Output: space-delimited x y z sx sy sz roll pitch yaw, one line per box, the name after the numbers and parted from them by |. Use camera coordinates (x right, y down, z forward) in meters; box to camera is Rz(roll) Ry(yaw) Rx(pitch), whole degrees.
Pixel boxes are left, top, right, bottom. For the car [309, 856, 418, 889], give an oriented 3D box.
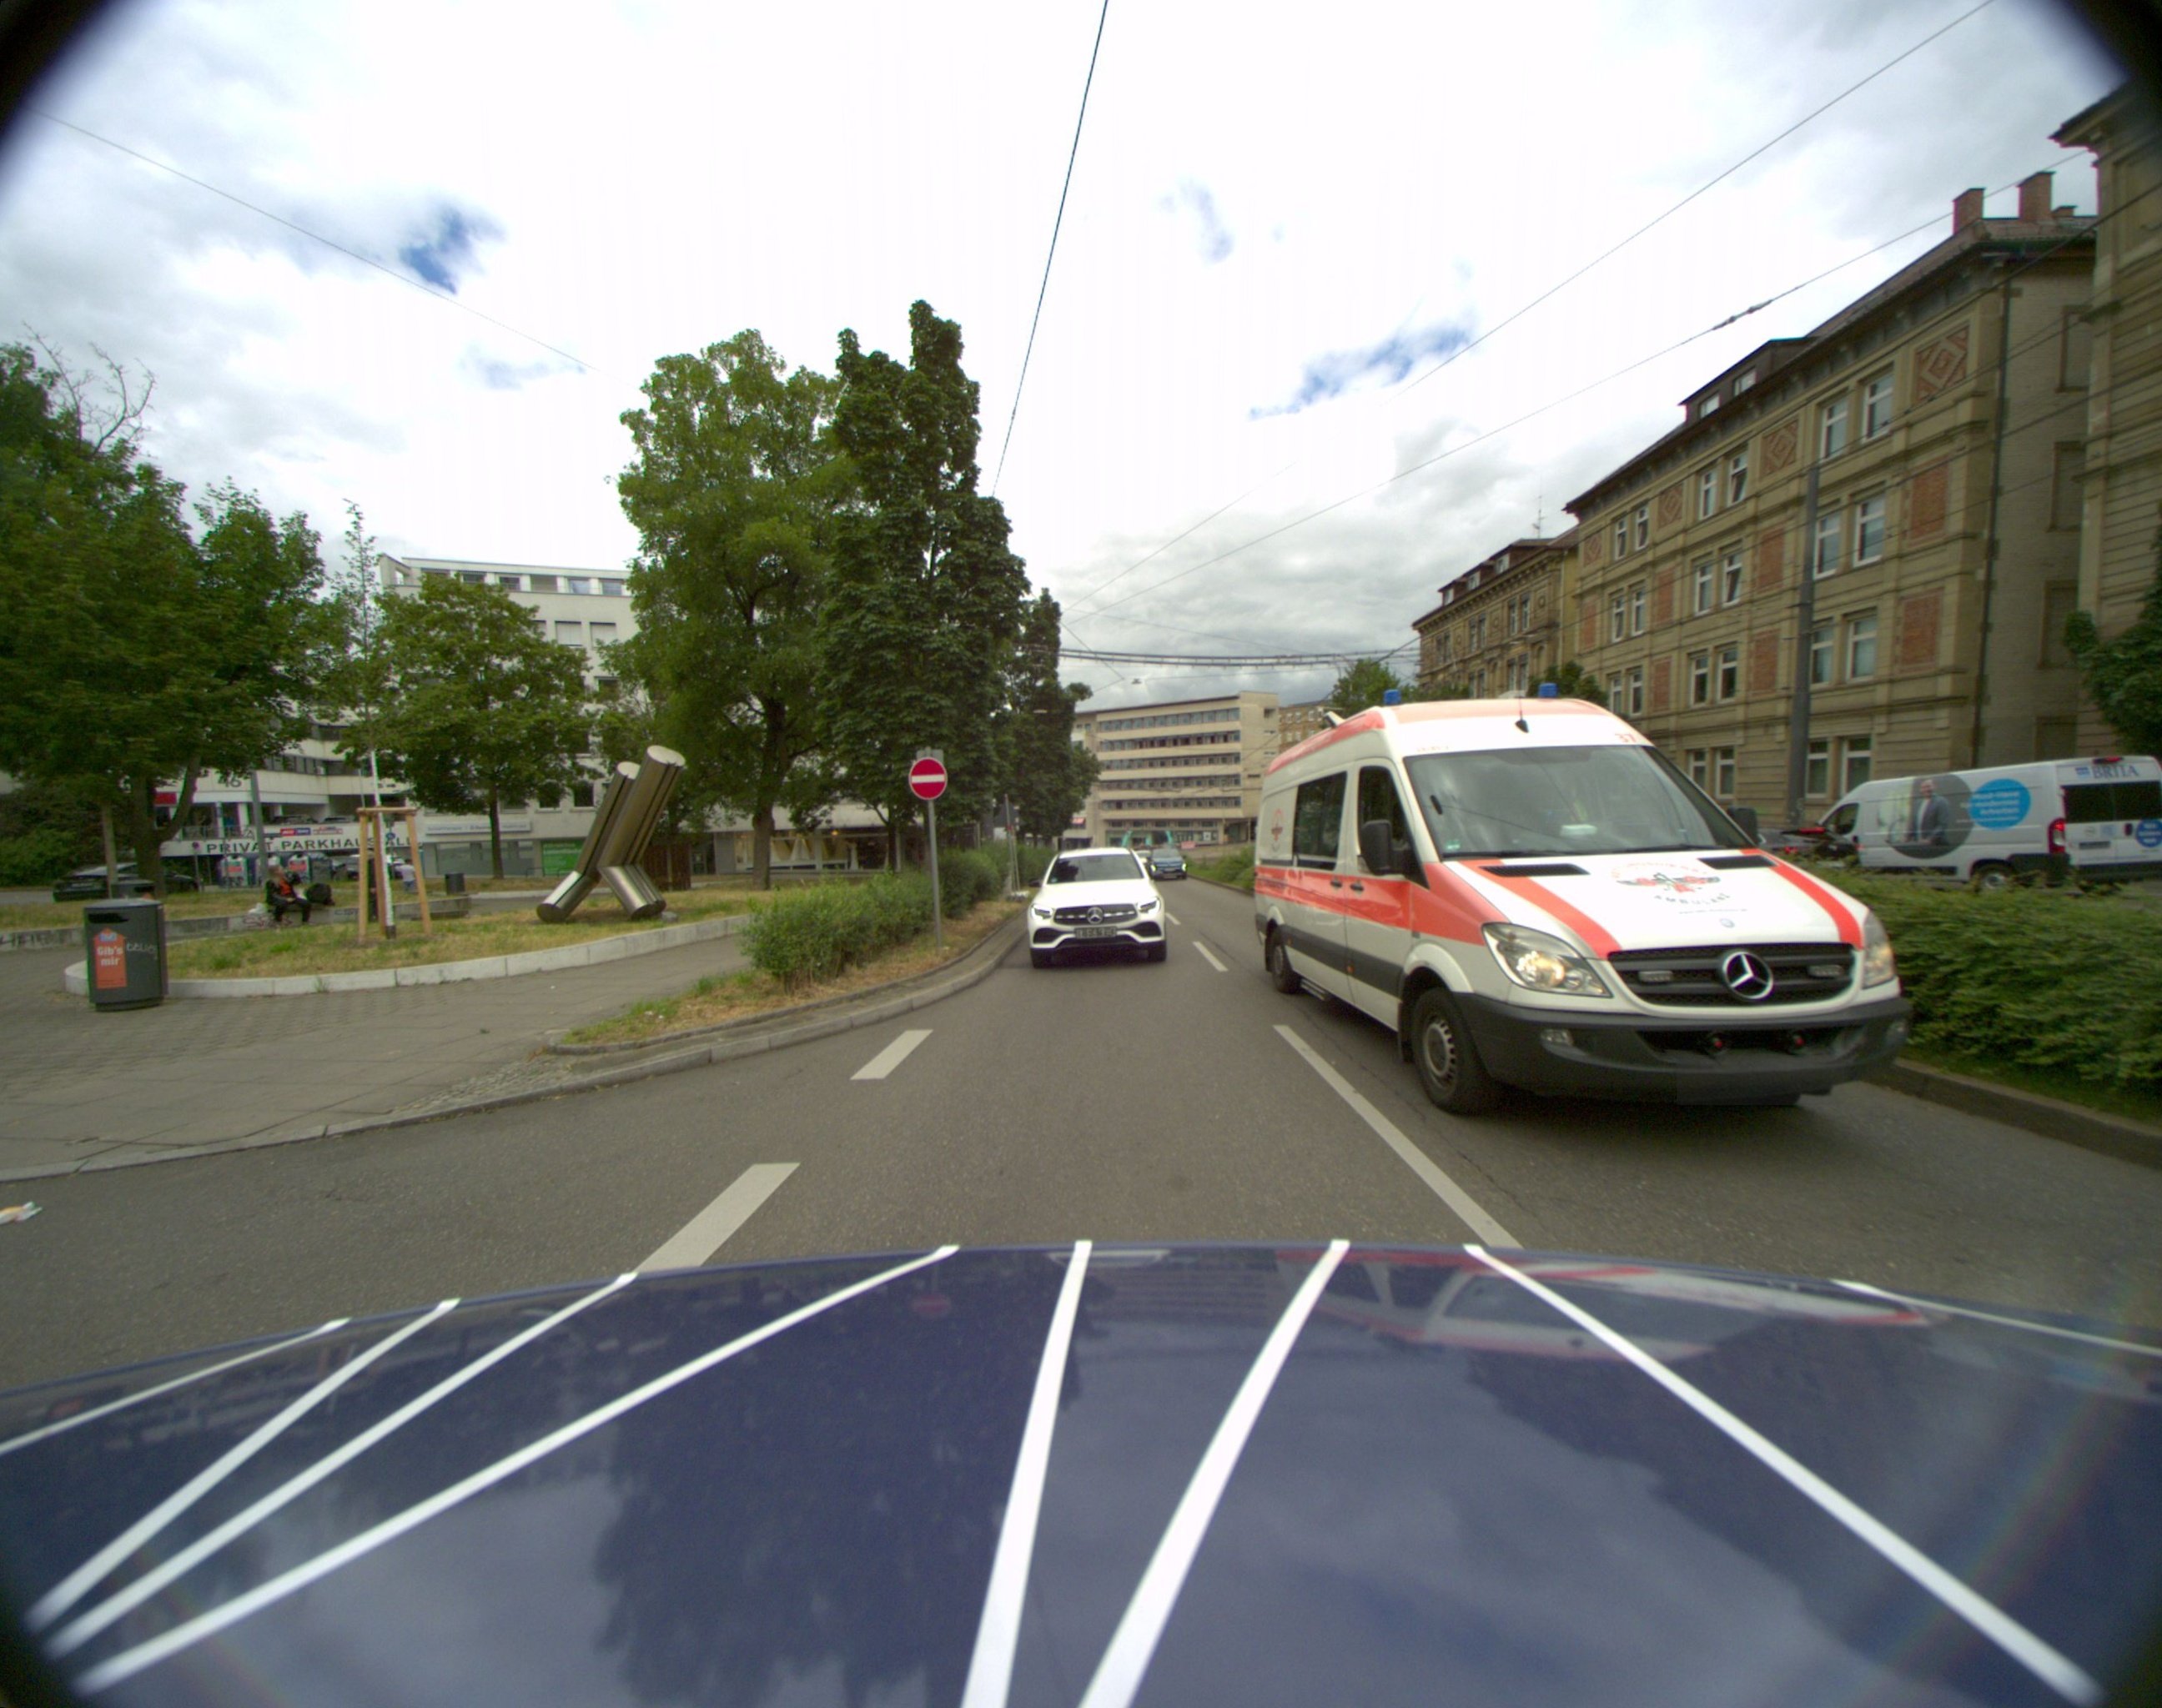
-40.604 1.011 43.093 4.000 1.707 1.998 -1 1 -8 | car

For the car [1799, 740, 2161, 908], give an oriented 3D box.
17.744 -0.535 15.235 2.214 2.806 4.783 -1 1 1 | car

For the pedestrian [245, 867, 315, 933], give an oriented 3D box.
-16.402 0.934 15.570 0.655 1.284 0.685 -1 1 10 | pedestrian

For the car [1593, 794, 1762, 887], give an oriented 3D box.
17.380 -0.371 22.433 1.998 2.461 4.000 -1 1 3 | car

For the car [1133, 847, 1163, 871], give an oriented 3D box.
4.663 0.315 52.813 1.998 1.543 4.318 -1 0 5 | car

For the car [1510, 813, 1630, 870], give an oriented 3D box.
17.779 -0.446 27.840 2.320 1.928 3.437 -1 1 3 | car

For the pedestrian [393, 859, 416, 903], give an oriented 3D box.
-24.071 0.960 27.057 0.529 1.524 0.672 -2 2 -38 | pedestrian

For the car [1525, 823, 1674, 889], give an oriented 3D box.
15.103 0.047 22.439 1.840 1.740 4.000 -1 1 3 | car

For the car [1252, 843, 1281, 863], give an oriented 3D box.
15.502 -0.134 63.638 1.681 1.620 3.844 -1 1 3 | car

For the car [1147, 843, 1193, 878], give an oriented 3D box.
4.399 0.291 38.012 1.930 1.563 4.181 -3 0 3 | car

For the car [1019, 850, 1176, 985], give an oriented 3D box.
0.228 0.777 11.705 1.894 1.610 4.478 -2 0 0 | car

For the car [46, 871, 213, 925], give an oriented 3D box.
-35.676 1.570 28.717 2.002 1.730 4.774 -2 1 -25 | car

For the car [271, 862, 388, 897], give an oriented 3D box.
-39.975 1.319 40.518 4.000 1.707 1.998 -1 1 -8 | car

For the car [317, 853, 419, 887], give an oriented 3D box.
-42.182 0.918 45.021 4.000 1.677 1.688 -4 1 -11 | car

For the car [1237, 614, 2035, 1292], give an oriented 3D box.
2.857 0.394 6.004 2.039 2.684 5.854 -2 1 1 | car

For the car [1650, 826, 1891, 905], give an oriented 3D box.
14.962 0.204 16.842 1.871 1.510 3.950 -1 1 3 | car

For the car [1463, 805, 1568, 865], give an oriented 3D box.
17.878 -0.751 31.506 2.241 2.275 4.000 -1 1 3 | car

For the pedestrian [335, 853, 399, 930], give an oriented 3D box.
-15.357 0.788 16.364 0.727 1.593 0.791 -2 1 -22 | pedestrian
